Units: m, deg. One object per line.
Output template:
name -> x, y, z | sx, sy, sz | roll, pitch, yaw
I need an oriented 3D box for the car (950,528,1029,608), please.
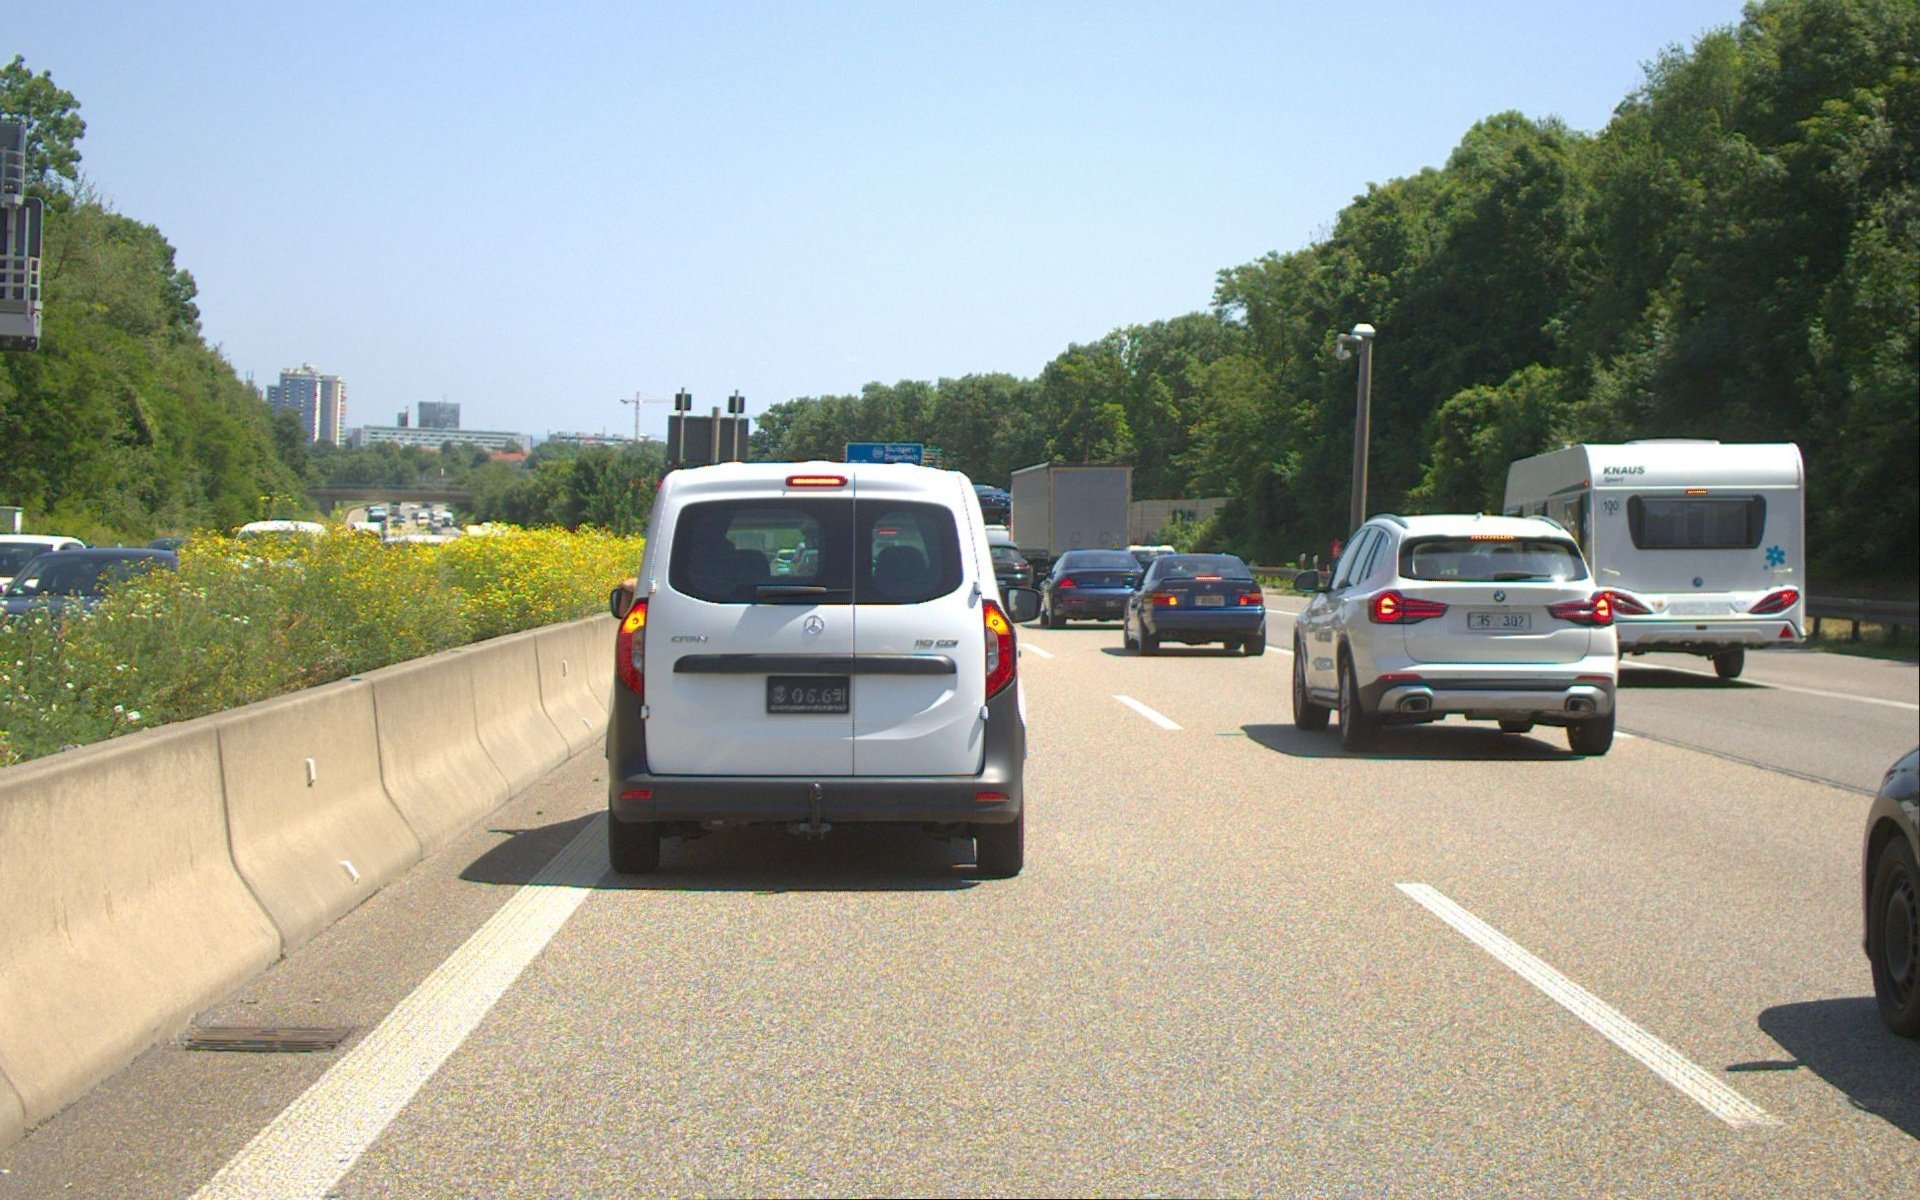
car -> 0.723, -0.830, 87.676 | 1.824, 1.982, 4.000 | 0, 1, -2

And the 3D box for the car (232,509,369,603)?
car -> -12.667, -0.865, 66.255 | 1.884, 1.749, 4.277 | 0, 1, -1

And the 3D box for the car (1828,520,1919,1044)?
car -> 3.705, 0.577, 8.749 | 1.838, 1.508, 4.402 | 1, 2, 0

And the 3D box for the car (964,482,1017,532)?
car -> 1.244, -3.836, 141.984 | 1.993, 2.007, 4.000 | 0, 1, -2

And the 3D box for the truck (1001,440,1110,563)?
truck -> 3.184, -3.307, 117.232 | 3.081, 3.972, 9.647 | 0, 1, -2

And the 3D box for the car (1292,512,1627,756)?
car -> 3.552, 0.182, 25.105 | 1.871, 1.602, 3.879 | 1, 2, 0

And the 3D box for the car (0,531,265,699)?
car -> -7.447, 0.082, 29.930 | 1.993, 1.336, 4.248 | 1, 1, -1

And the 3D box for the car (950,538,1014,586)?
car -> 0.667, -1.205, 107.525 | 1.824, 1.442, 4.000 | 0, 1, -2

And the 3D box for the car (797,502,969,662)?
car -> -0.965, -0.245, 42.052 | 1.993, 1.853, 4.000 | 0, 1, -2

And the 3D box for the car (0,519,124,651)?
car -> -11.304, -0.218, 41.181 | 1.675, 1.493, 3.883 | 1, 1, -1

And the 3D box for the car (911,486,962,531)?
car -> -1.087, -4.221, 158.932 | 1.993, 2.007, 4.001 | 0, 1, -6

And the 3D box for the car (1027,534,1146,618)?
car -> 2.203, -0.447, 61.001 | 1.824, 1.419, 4.000 | 0, 1, -2

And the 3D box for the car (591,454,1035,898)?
car -> -0.590, 0.264, 16.068 | 1.802, 1.802, 4.000 | 1, 1, 0

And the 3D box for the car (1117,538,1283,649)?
car -> 3.211, -0.118, 46.678 | 1.824, 1.419, 4.000 | 0, 1, -2

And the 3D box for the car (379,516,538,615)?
car -> -7.960, -0.580, 54.955 | 1.938, 1.498, 4.659 | 0, 1, -1

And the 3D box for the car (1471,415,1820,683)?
car -> 7.560, -0.583, 38.700 | 2.478, 2.756, 6.220 | 0, 1, -2

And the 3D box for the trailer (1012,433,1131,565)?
trailer -> 3.447, -3.161, 109.407 | 3.081, 3.972, 10.324 | 0, 1, -2

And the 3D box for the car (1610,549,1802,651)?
car -> 10.934, -0.026, 50.633 | 1.824, 1.419, 4.000 | 0, 1, -2

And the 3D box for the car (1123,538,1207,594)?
car -> 5.381, -0.917, 90.510 | 1.824, 1.419, 4.000 | 0, 1, -2
